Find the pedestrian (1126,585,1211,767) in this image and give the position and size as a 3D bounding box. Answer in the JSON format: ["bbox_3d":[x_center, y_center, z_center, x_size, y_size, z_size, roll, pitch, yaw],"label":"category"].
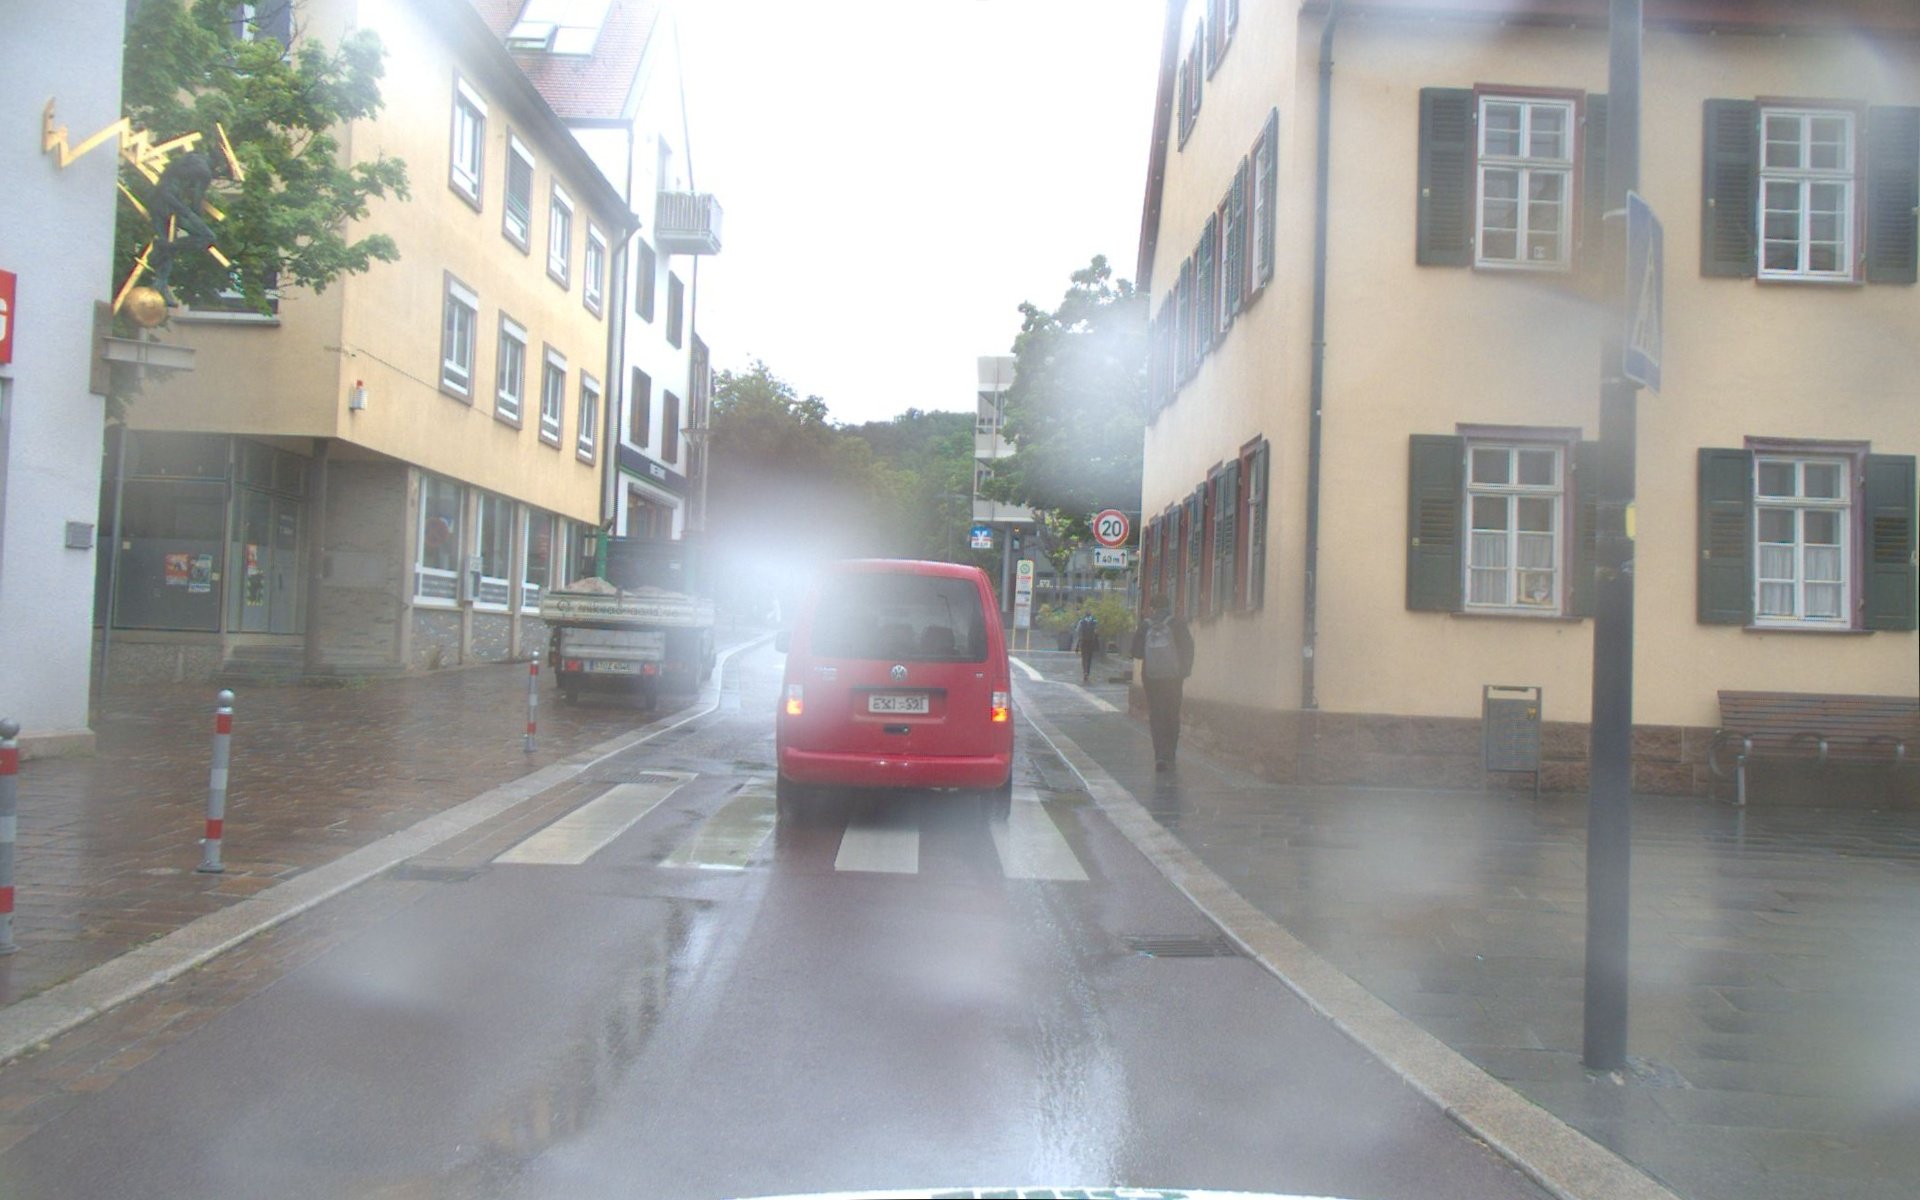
[{"bbox_3d":[2.037,0.728,16.259,0.699,1.722,0.868,2,0,1],"label":"pedestrian"}]

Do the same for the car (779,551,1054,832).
[{"bbox_3d":[-0.441,0.627,13.139,1.825,1.863,4.181,0,-1,-4],"label":"car"}]

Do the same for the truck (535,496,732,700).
[{"bbox_3d":[-5.070,-0.063,26.716,2.425,2.844,6.592,1,1,-6],"label":"truck"}]

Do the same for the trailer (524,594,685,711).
[{"bbox_3d":[-4.623,0.641,21.877,1.694,1.370,3.157,1,1,-6],"label":"trailer"}]

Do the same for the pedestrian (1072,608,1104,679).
[{"bbox_3d":[3.021,1.032,39.085,0.713,1.645,0.694,1,-1,2],"label":"pedestrian"}]
